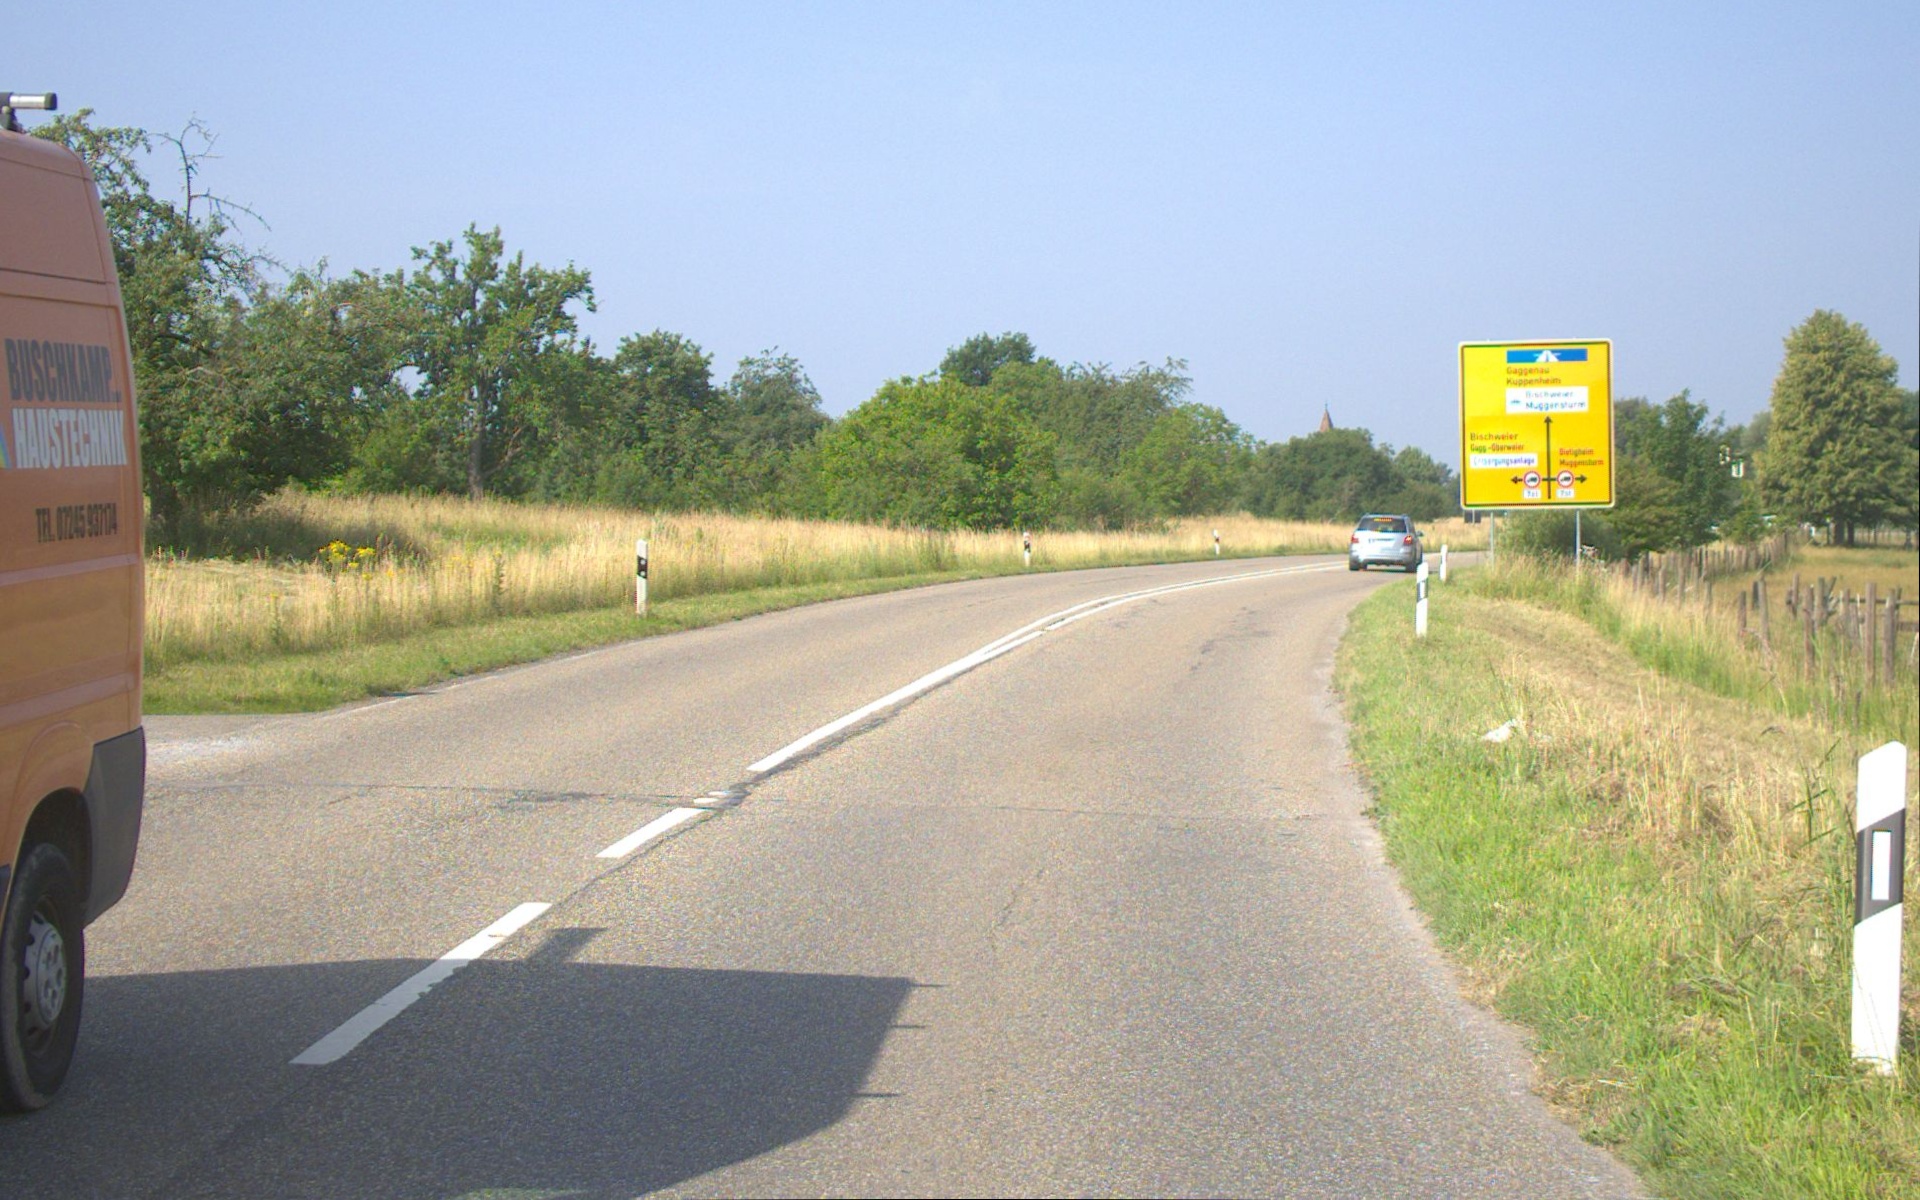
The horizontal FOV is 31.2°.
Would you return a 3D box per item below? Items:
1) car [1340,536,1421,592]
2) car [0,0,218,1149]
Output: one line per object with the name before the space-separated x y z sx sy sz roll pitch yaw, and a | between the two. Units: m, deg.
car | 11.972 -1.035 97.749 1.900 1.506 3.998 2 1 12
car | -3.312 -0.062 7.339 2.124 2.686 5.268 1 1 2
